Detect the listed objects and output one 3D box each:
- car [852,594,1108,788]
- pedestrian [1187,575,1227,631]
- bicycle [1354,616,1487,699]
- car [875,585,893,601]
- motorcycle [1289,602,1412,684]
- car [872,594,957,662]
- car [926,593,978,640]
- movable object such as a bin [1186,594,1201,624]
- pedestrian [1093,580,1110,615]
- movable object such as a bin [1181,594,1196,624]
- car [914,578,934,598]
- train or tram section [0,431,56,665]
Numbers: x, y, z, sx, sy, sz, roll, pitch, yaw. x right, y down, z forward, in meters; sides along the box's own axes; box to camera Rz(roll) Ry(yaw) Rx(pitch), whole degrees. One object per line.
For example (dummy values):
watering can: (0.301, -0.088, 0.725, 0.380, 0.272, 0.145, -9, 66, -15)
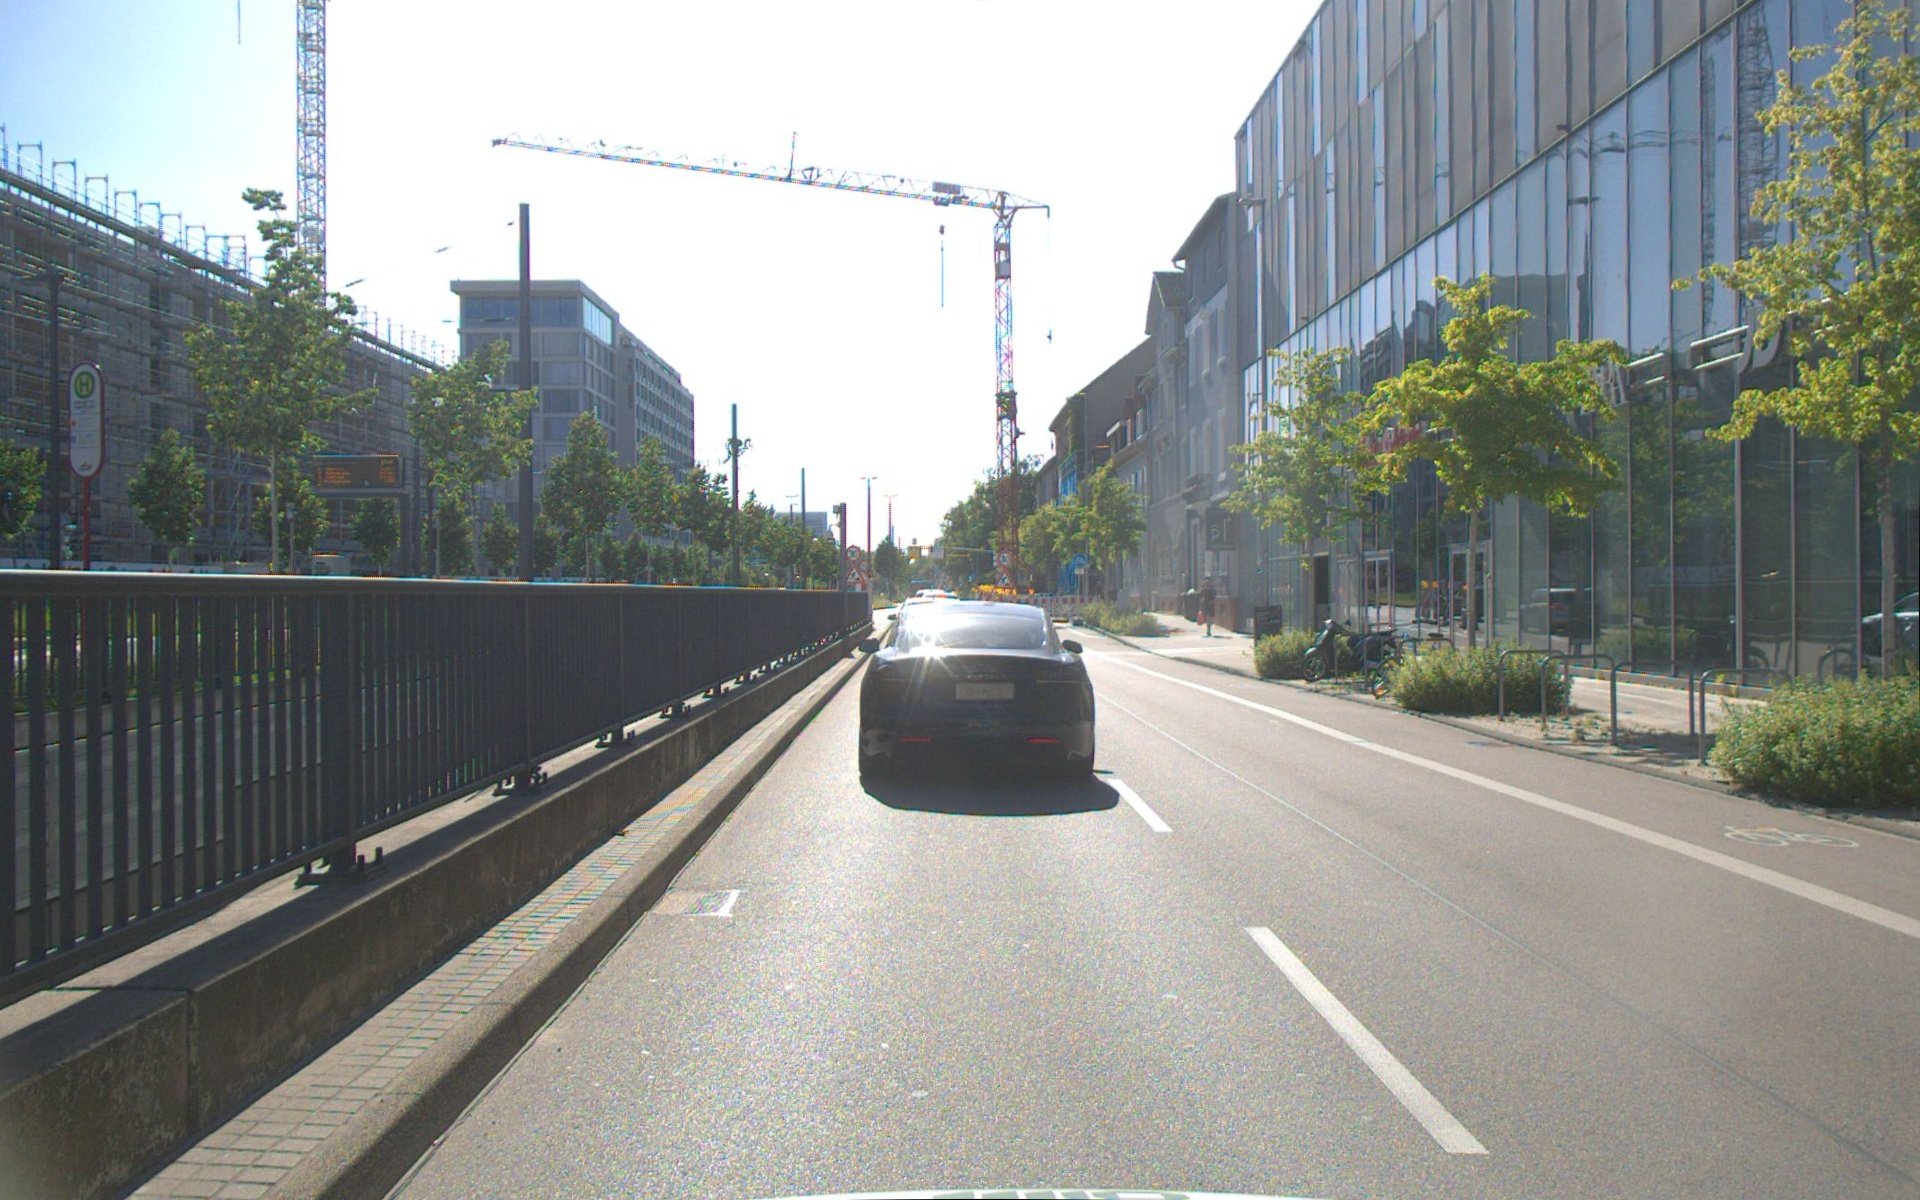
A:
car: (0.234, 0.686, 14.906, 1.957, 1.459, 4.414, 0, 0, 2)
pedestrian: (8.496, 0.093, 56.953, 1.073, 1.896, 1.522, -1, 0, -2)
bicycle: (7.089, 0.873, 25.486, 1.848, 1.171, 0.670, -2, 0, -11)
car: (-8.690, -0.789, 190.236, 1.953, 1.713, 3.998, 1, 0, -2)
motorcycle: (7.108, 0.785, 30.127, 2.030, 1.377, 0.652, -3, -1, 23)
car: (-0.918, 0.558, 35.271, 1.681, 1.343, 4.000, 0, 1, 0)
car: (-0.253, 0.540, 57.661, 1.748, 1.573, 4.039, 0, 1, 1)
movable object such as a bin: (9.394, 0.358, 66.483, 0.547, 1.189, 0.562, 1, 0, 3)
pedestrian: (7.773, -0.123, 90.899, 0.834, 1.896, 0.929, -1, 0, -2)
movable object such as a bin: (9.303, 0.359, 67.330, 0.547, 1.189, 0.562, 1, 0, 3)
car: (-3.334, -1.161, 153.971, 1.776, 1.841, 4.039, 0, 1, 1)
train or tram section: (-15.014, -0.715, 13.964, 2.812, 3.337, 22.140, 1, 0, -1)
